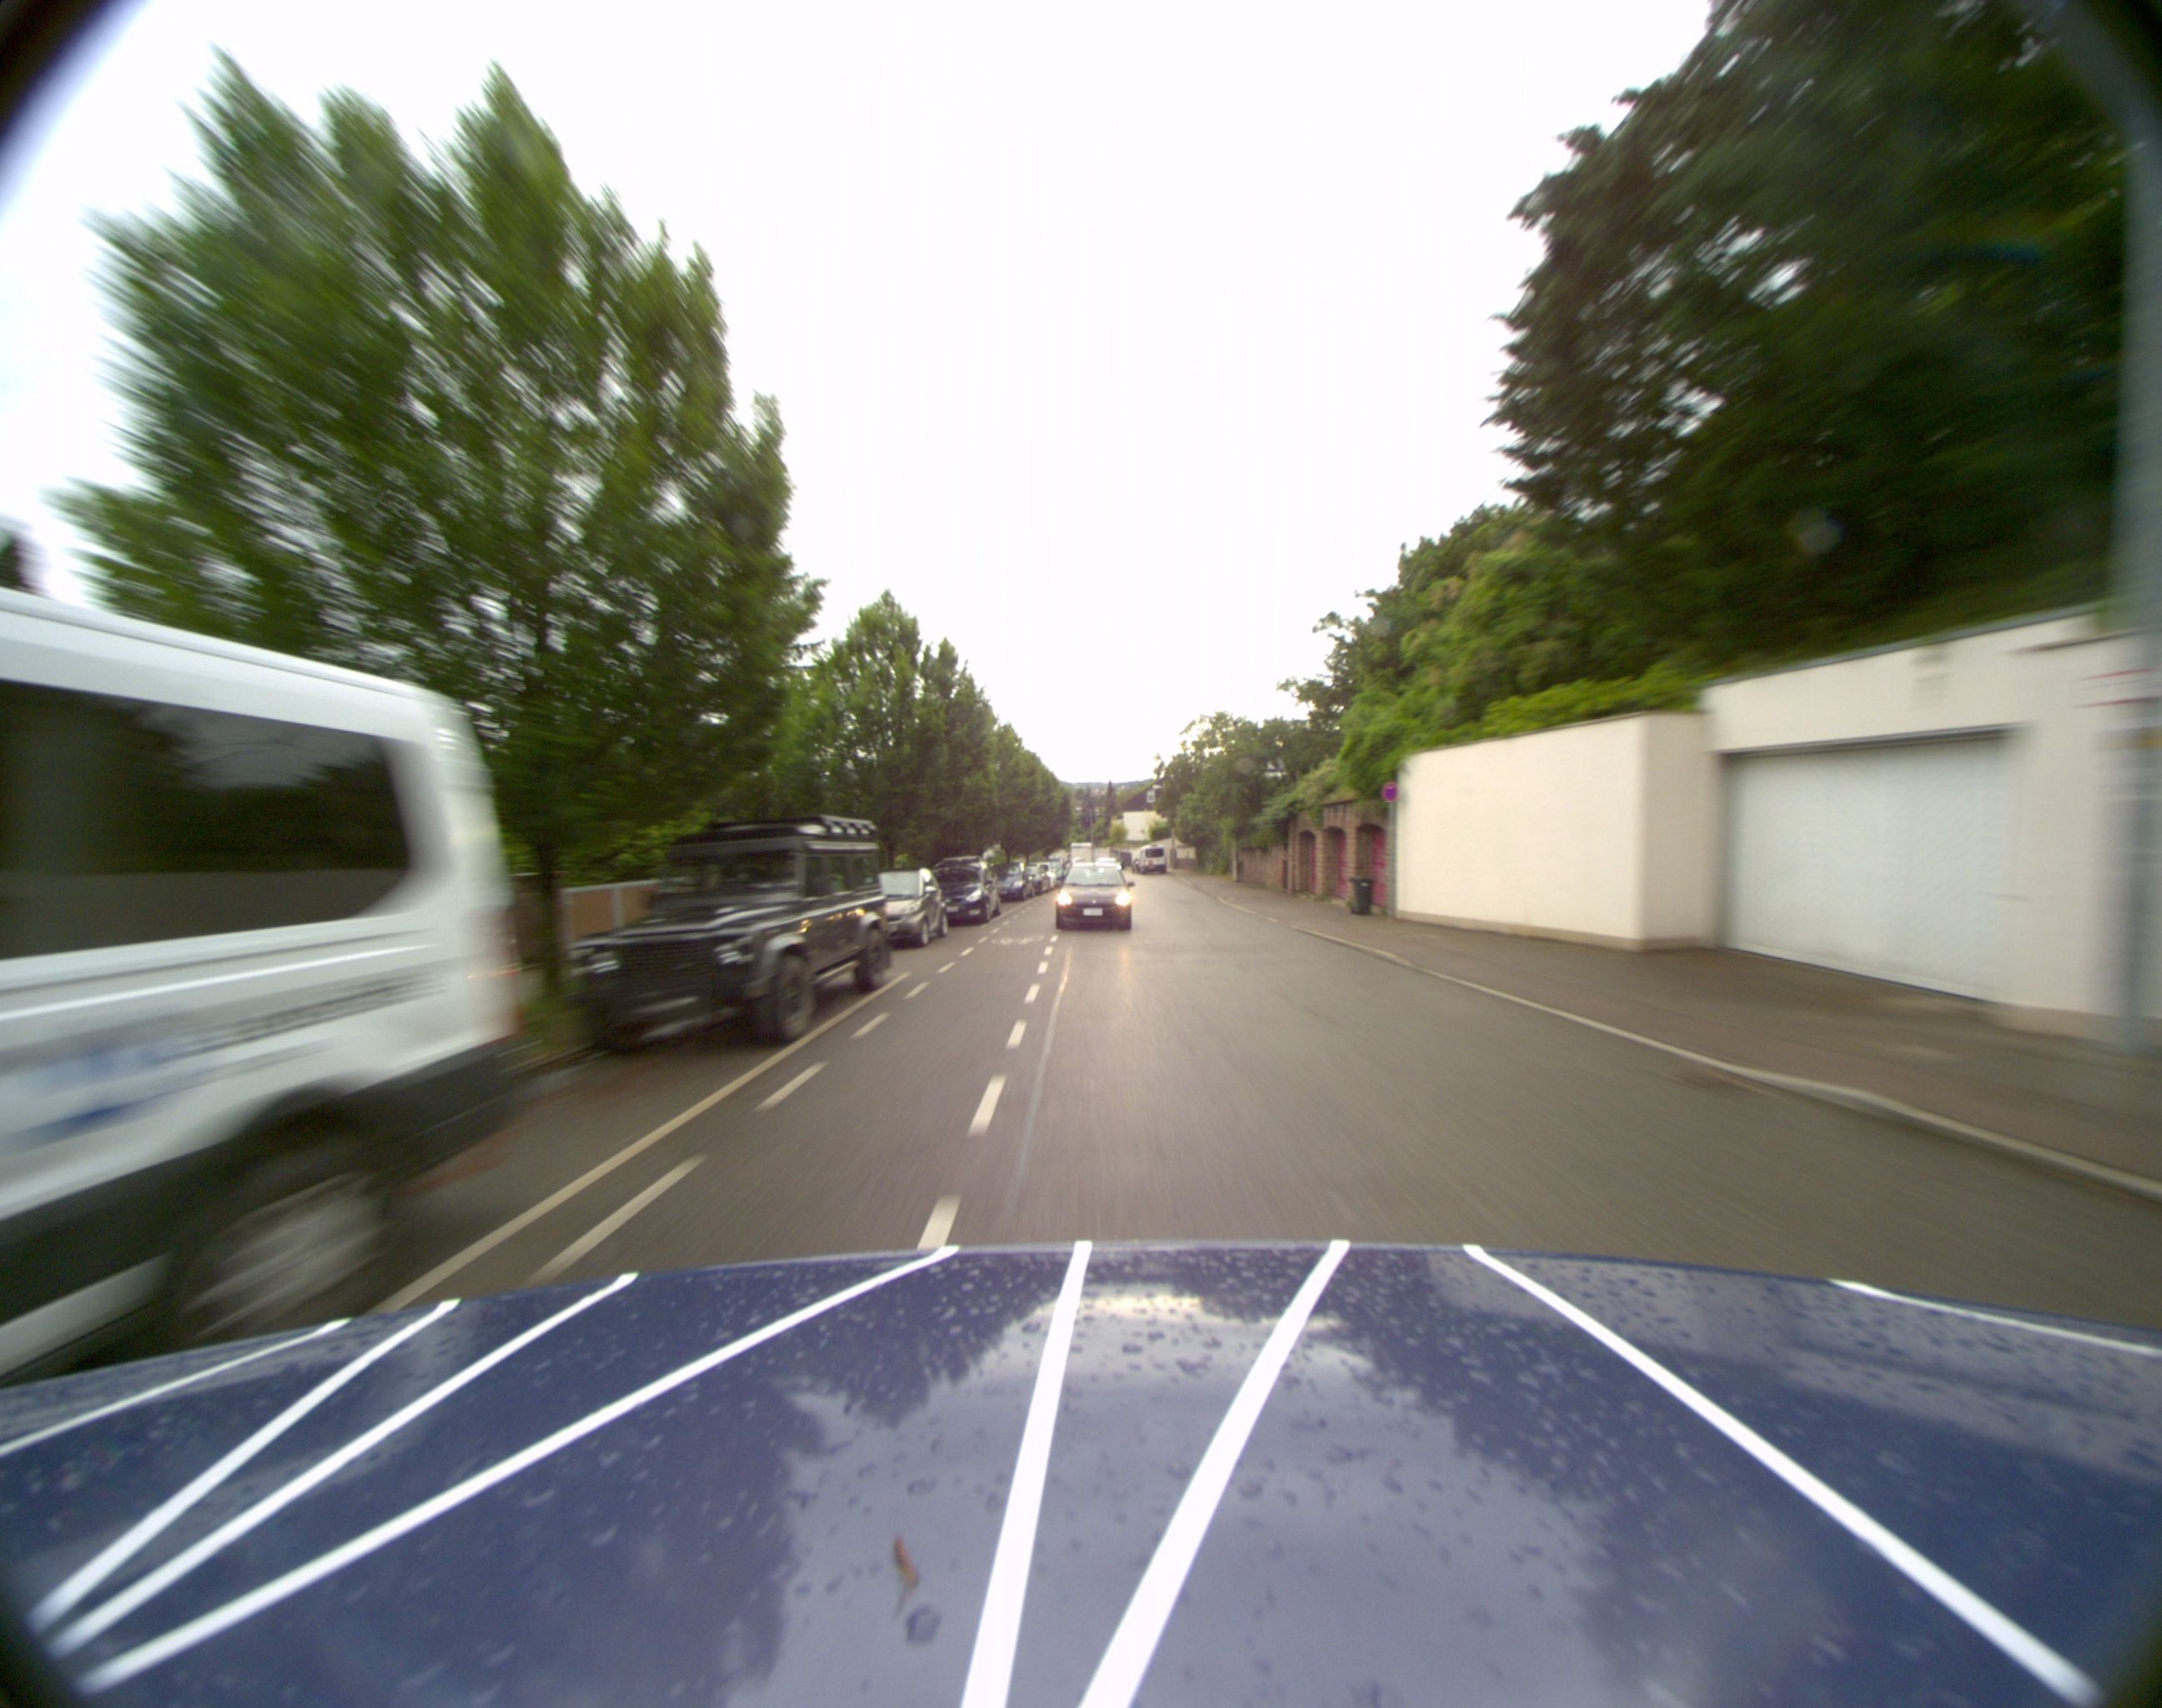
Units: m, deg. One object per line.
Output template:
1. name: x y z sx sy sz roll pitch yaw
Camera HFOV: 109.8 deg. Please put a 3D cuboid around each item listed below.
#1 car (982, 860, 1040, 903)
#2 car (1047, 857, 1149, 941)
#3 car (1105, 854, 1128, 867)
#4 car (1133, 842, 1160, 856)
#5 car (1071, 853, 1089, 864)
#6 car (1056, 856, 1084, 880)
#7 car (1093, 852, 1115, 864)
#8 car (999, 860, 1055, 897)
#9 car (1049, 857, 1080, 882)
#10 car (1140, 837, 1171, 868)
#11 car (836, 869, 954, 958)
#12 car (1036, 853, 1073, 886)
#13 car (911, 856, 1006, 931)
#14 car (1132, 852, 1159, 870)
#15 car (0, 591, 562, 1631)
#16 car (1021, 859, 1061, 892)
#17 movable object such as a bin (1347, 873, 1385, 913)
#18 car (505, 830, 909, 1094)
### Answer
1. car: -2.883 1.085 31.986 1.696 1.561 3.923 -3 0 4
2. car: 0.493 0.899 16.981 1.892 1.521 4.058 -4 0 5
3. car: 4.336 0.723 93.063 1.718 1.451 4.678 -3 1 -10
4. car: 9.894 -0.731 114.833 3.871 1.735 1.790 -5 2 11
5. car: -0.177 0.632 111.376 1.633 1.507 3.827 -3 0 -16
6. car: -0.775 1.028 57.992 1.718 1.547 4.164 -5 0 3
7. car: 3.039 0.470 99.880 1.839 1.431 4.035 -3 1 -13
8. car: -2.580 1.141 37.337 1.998 1.528 4.851 -4 0 4
9. car: -1.113 1.047 52.688 1.652 1.473 4.021 -4 0 5
10. car: 6.552 -0.132 67.369 2.099 2.535 6.097 -3 0 1
11. car: -3.767 1.152 15.836 1.600 1.549 2.955 -3 0 1
12. car: -1.627 0.933 47.907 1.782 1.841 4.426 -4 0 4
13. car: -3.242 0.978 21.038 1.785 1.772 4.679 -3 0 0
14. car: 6.337 0.664 75.051 1.901 1.681 4.543 -3 0 -5
15. car: -3.714 0.663 0.627 2.179 2.478 6.033 -5 0 1
16. car: -2.169 1.140 42.259 1.788 1.599 4.224 -3 0 1
17. movable object such as a bin: 6.971 0.937 18.609 0.660 0.914 0.677 -3 0 3
18. car: -3.633 0.874 8.770 1.998 2.040 5.121 -4 0 0
